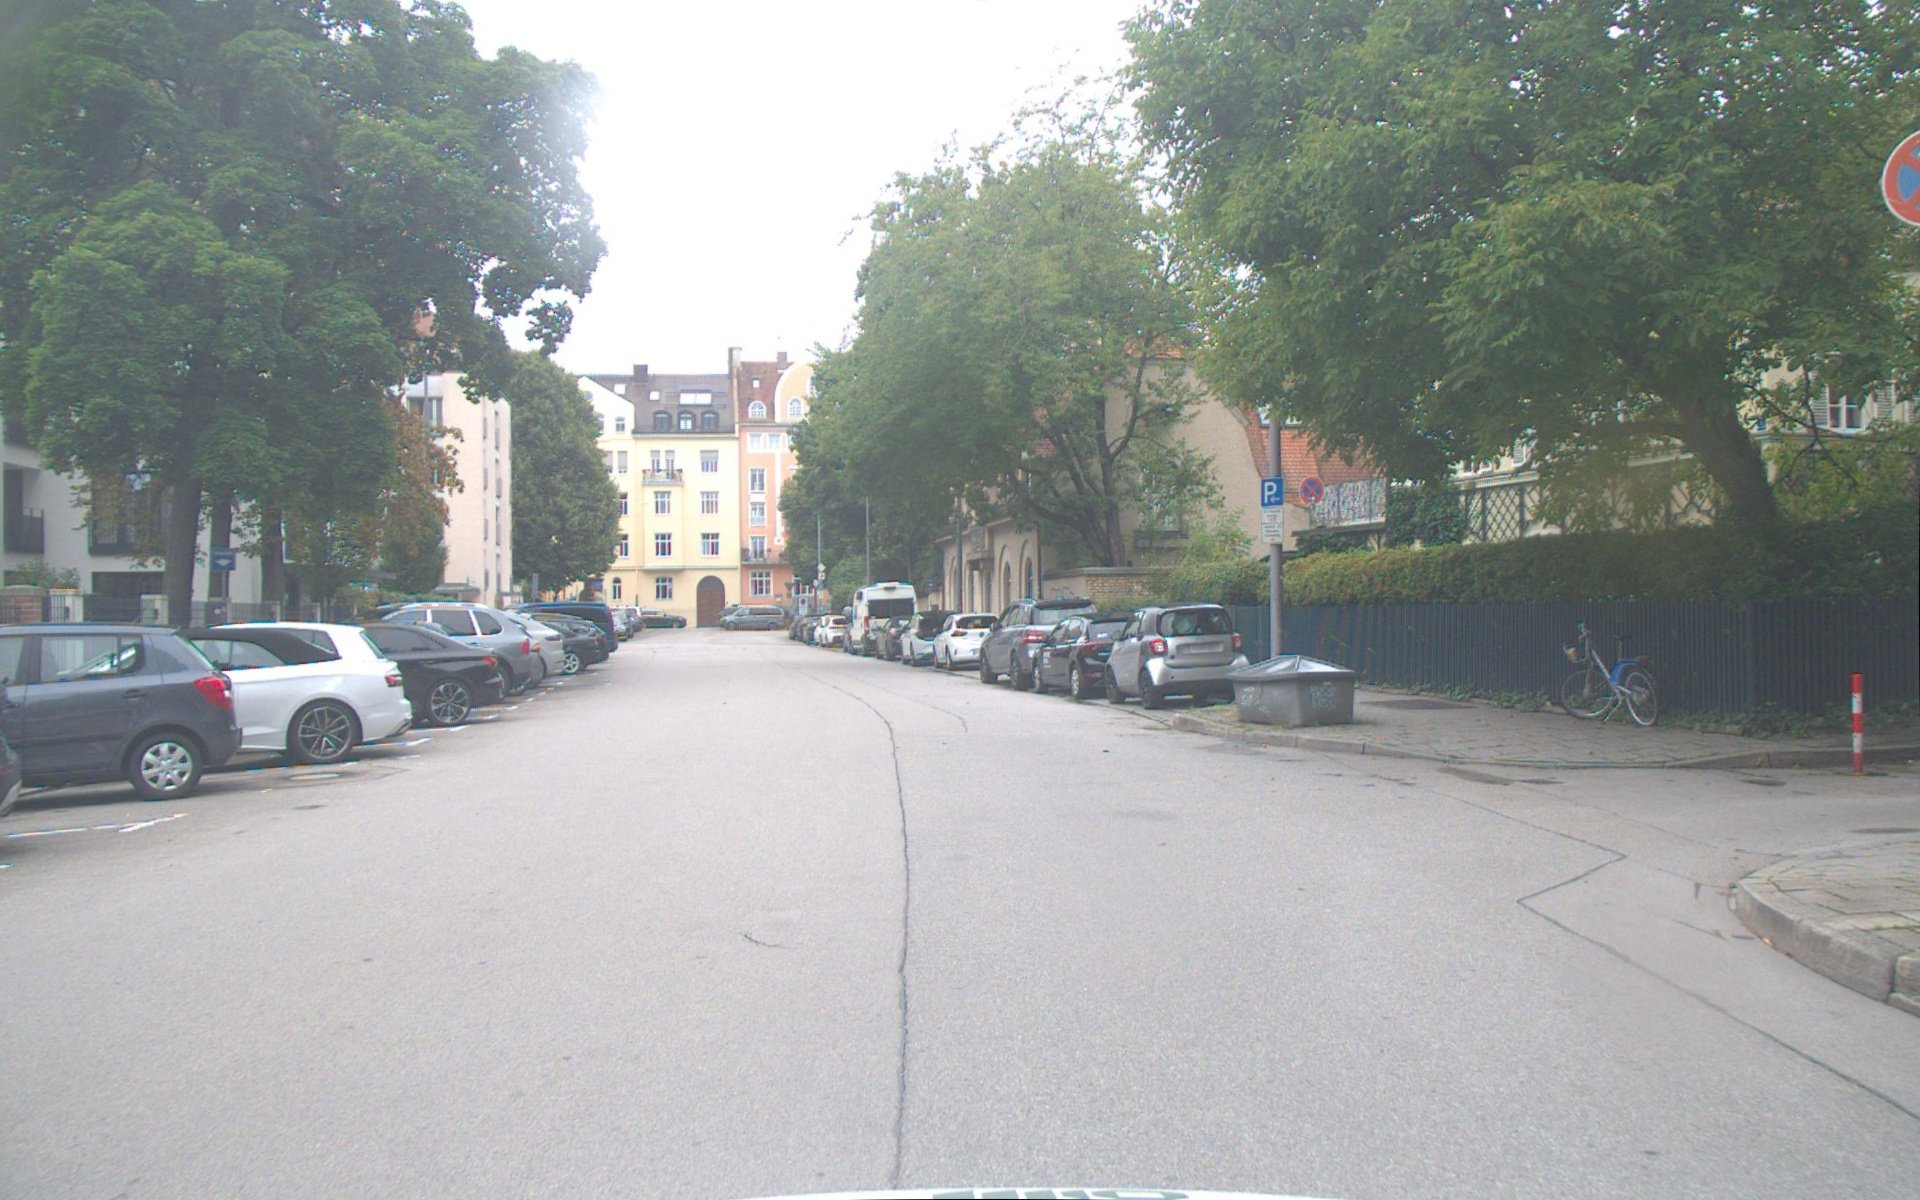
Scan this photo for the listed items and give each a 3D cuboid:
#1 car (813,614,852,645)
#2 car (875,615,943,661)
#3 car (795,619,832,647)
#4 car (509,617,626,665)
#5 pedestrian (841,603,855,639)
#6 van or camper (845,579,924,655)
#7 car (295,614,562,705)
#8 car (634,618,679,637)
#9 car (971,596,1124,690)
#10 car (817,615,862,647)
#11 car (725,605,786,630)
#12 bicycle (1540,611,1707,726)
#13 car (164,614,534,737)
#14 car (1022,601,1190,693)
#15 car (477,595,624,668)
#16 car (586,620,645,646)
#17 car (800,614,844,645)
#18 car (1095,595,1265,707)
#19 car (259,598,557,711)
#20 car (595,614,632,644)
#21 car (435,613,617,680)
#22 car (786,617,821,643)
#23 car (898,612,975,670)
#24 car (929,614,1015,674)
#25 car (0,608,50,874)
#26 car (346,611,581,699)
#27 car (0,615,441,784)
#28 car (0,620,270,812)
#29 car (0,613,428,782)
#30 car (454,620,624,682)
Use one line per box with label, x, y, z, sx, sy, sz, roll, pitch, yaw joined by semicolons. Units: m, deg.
car;-6.542;1.502;84.310;1.675;1.491;3.830;-2;-1;-8
car;-1.715;1.236;54.601;1.676;1.393;4.431;-2;-1;-9
car;-8.321;1.846;93.849;1.641;1.367;3.826;-2;1;-12
car;-15.097;1.572;63.727;4.084;1.637;1.711;-2;0;-42
pedestrian;-6.287;1.182;92.849;0.759;2.049;0.561;0;-1;-10
van or camper;-2.857;0.628;61.366;2.152;2.595;5.714;-2;0;-10
car;-9.934;1.080;31.090;4.373;1.517;1.987;-1;-1;-41
car;-27.284;2.477;148.926;3.912;1.614;1.700;-1;-1;-8
car;1.719;0.862;34.414;1.959;1.741;4.870;-2;0;-12
car;-5.800;1.476;79.435;1.676;1.432;4.119;-2;-1;-10
car;-15.843;1.375;128.117;4.620;1.914;1.835;0;-1;-11
bicycle;7.253;0.716;18.192;0.791;1.182;1.969;-1;0;-9
car;-8.294;0.978;22.644;4.371;1.464;1.937;-1;-1;-40
car;2.535;0.815;29.854;1.844;1.452;4.209;-2;0;-12
car;-12.990;0.988;52.592;4.176;2.102;1.713;-2;0;-39
car;-24.248;2.323;116.528;3.915;1.534;1.836;-4;0;-10
car;-7.405;1.545;88.498;1.772;1.491;3.825;-2;1;-13
car;3.371;0.787;25.807;1.708;1.563;2.937;-2;-1;-12
car;-9.353;0.884;28.215;4.375;1.729;2.104;-1;-1;-42
car;-19.862;1.650;94.871;1.801;1.534;3.991;-4;0;-9
car;-11.088;1.169;42.400;4.179;1.487;1.712;-2;0;-40
car;-9.341;1.779;98.657;1.641;1.367;3.826;-2;1;-12
car;-0.748;1.186;48.901;1.676;1.564;4.231;-3;0;-9
car;0.273;1.152;43.872;1.654;1.466;3.992;-2;-1;-9
car;-7.936;0.898;9.719;4.468;1.595;1.869;-1;-1;-32
car;-10.349;1.119;34.520;4.353;1.649;2.064;-1;-1;-31
car;-7.895;0.959;17.156;4.462;1.476;1.875;-1;-1;-34
car;-8.204;0.965;13.803;4.336;1.476;1.640;-1;0;-31
car;-8.770;1.060;19.380;4.463;1.536;1.909;-3;0;-34
car;-11.471;1.371;45.145;4.161;1.487;1.719;-2;0;-31
